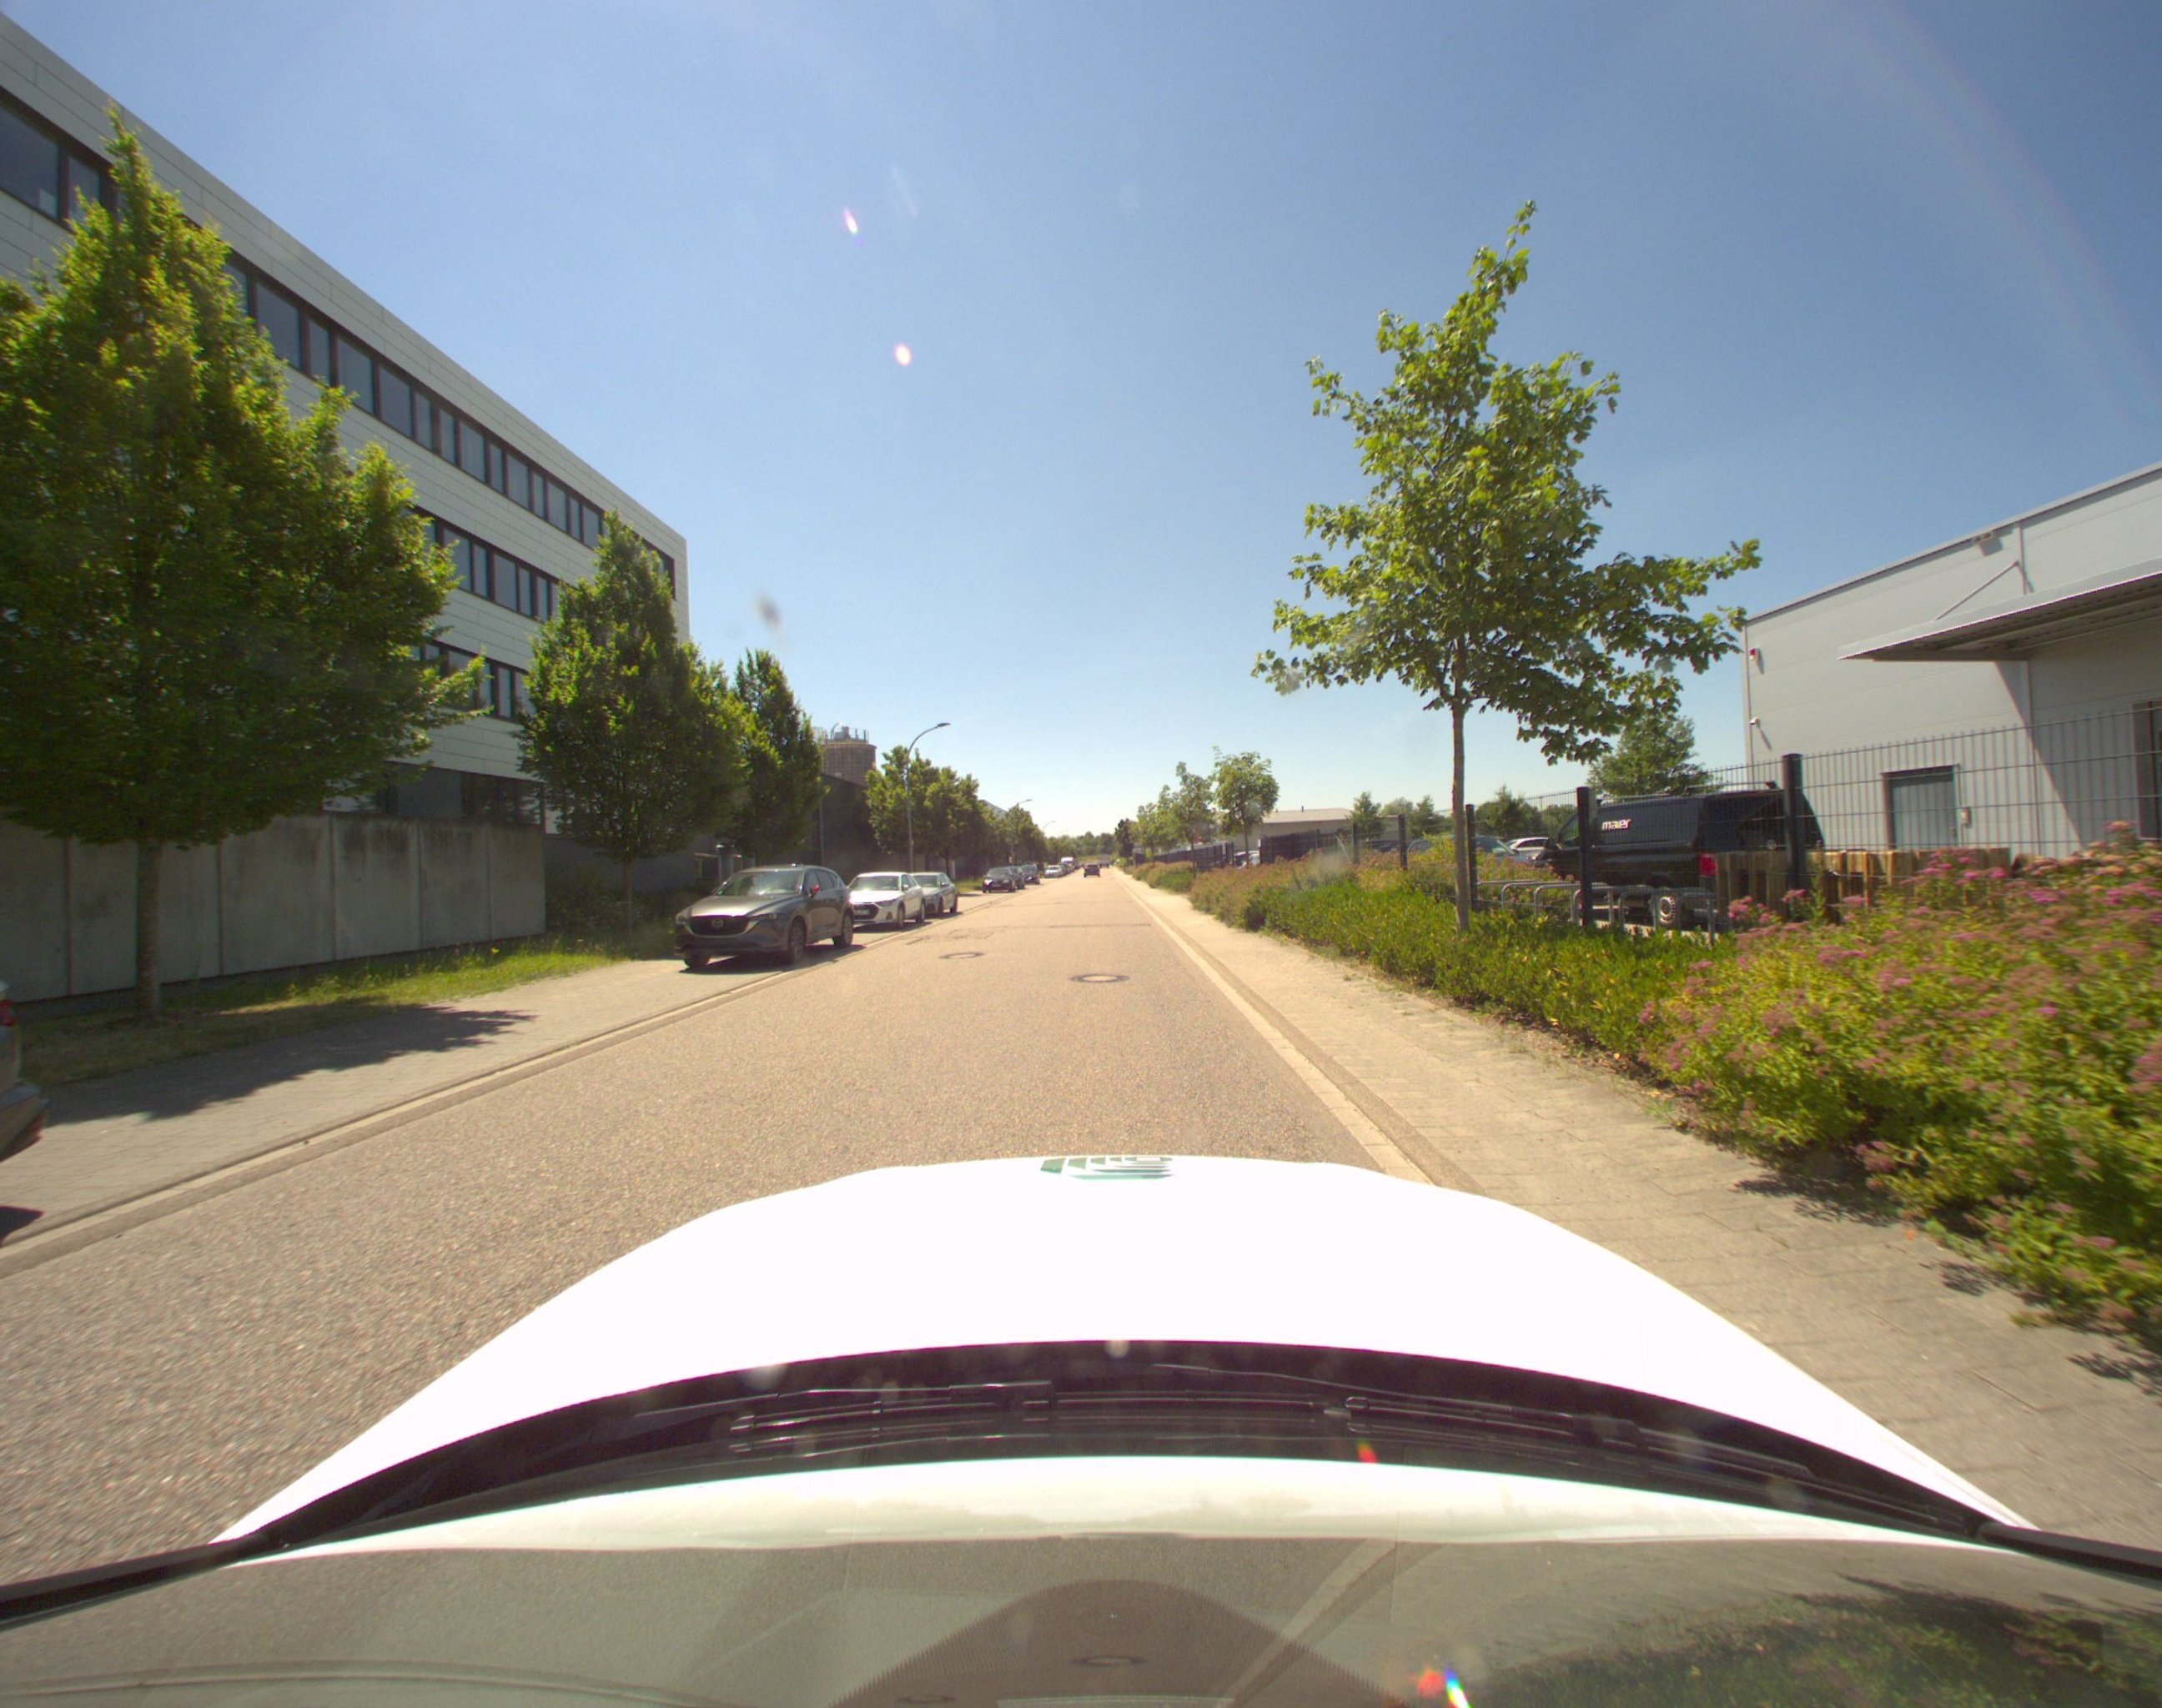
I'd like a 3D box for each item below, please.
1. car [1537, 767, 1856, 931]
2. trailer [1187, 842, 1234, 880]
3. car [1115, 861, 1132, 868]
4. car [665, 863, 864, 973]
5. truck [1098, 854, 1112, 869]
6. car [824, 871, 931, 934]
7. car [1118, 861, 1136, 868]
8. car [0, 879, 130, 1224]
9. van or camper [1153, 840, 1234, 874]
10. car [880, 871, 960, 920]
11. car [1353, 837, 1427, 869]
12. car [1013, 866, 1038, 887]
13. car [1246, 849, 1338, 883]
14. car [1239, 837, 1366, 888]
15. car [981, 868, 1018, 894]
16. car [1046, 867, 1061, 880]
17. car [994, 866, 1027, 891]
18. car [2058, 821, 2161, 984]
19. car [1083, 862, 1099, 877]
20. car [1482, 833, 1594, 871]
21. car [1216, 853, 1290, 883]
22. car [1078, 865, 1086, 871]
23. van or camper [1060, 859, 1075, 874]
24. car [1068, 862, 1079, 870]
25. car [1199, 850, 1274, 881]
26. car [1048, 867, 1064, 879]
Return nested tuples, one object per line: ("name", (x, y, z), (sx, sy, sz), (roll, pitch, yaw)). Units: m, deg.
("car", (9.476, -0.050, 13.094), (1.870, 2.087, 4.226), (-4, -1, 1))
("trailer", (8.904, 0.468, 55.969), (2.816, 2.403, 1.418), (-4, -1, -3))
("car", (9.828, 2.455, 189.585), (3.864, 1.750, 1.751), (0, -1, -1))
("car", (-5.462, 1.019, 14.771), (1.765, 1.624, 4.581), (-2, -1, 0))
("truck", (5.040, 1.595, 171.939), (2.922, 2.974, 6.421), (0, -1, 2))
("car", (-5.299, 1.216, 21.739), (1.765, 1.431, 4.200), (-2, -1, 0))
("car", (10.532, 2.414, 187.266), (3.864, 1.750, 1.751), (0, -1, -1))
("car", (-5.896, 0.945, 2.034), (1.765, 1.588, 4.479), (-2, 0, -1))
("van or camper", (9.959, 0.273, 72.306), (6.735, 2.585, 2.635), (-3, -1, 0))
("car", (-5.129, 1.289, 26.479), (1.765, 1.431, 3.939), (-2, -1, 0))
("car", (20.297, -0.042, 53.584), (4.028, 1.800, 1.918), (-3, -1, 0))
("car", (-4.588, 1.845, 67.686), (1.765, 1.611, 4.247), (-2, -1, 0))
("car", (10.885, 0.626, 42.186), (4.265, 1.445, 1.755), (-4, -1, 0))
("car", (9.805, 0.365, 36.338), (5.097, 1.874, 1.902), (-4, -1, 0))
("car", (-4.881, 1.593, 49.292), (1.765, 1.431, 4.200), (-2, -1, 0))
("car", (-3.404, 2.336, 99.751), (1.715, 1.476, 3.855), (-2, -1, -1))
("car", (-4.782, 1.652, 55.897), (1.765, 1.611, 4.851), (-2, -1, 0))
("car", (9.215, 0.323, 5.066), (1.612, 1.272, 3.880), (-3, -1, 1))
("car", (1.189, 1.765, 93.032), (1.783, 1.623, 3.809), (0, -1, 1))
("car", (20.013, -0.060, 35.793), (3.856, 1.403, 1.768), (-3, -1, 3))
("car", (9.378, 0.744, 44.487), (3.653, 1.422, 1.644), (-3, -1, 0))
("car", (0.307, 3.635, 218.356), (1.792, 1.487, 4.256), (-2, 0, 3))
("van or camper", (-2.283, 2.139, 140.858), (2.069, 2.483, 6.136), (0, -1, 4))
("car", (-1.542, 2.534, 168.452), (1.792, 1.487, 4.256), (-2, 0, 3))
("car", (9.016, 0.670, 47.426), (3.974, 1.522, 1.822), (-3, -1, 0))
("car", (-3.207, 2.417, 105.011), (1.792, 1.476, 4.556), (-2, -1, 2))
